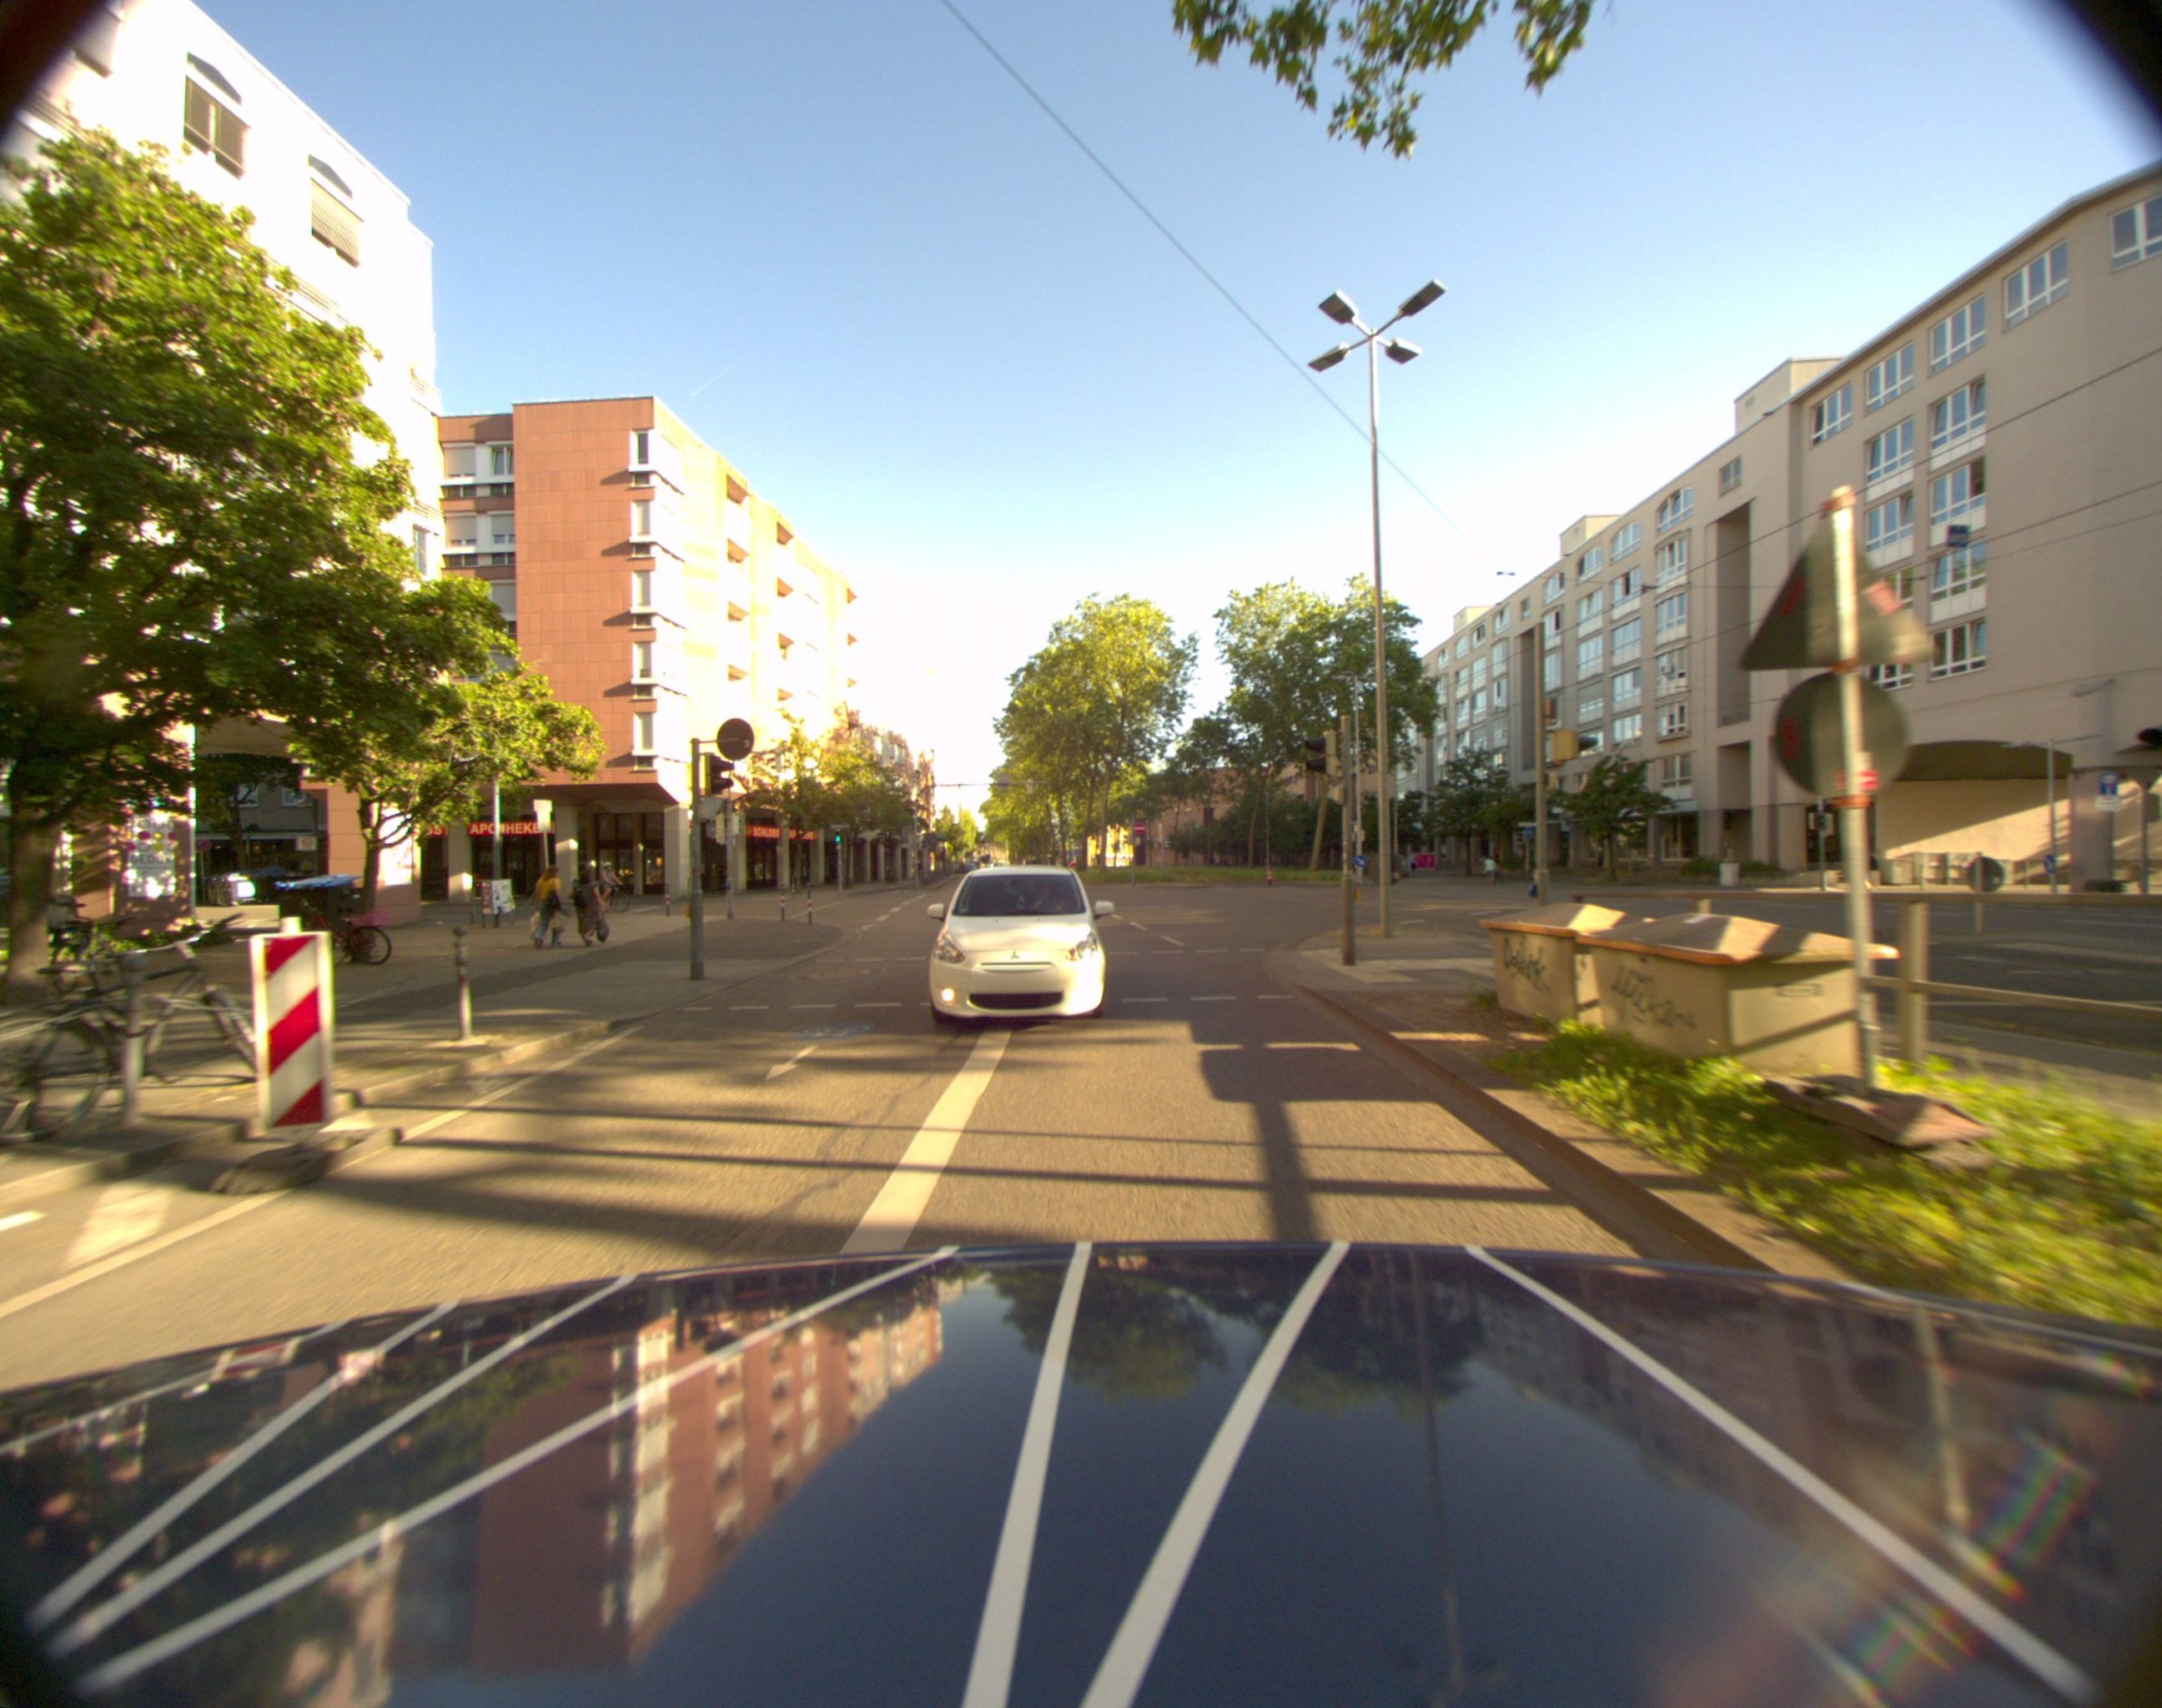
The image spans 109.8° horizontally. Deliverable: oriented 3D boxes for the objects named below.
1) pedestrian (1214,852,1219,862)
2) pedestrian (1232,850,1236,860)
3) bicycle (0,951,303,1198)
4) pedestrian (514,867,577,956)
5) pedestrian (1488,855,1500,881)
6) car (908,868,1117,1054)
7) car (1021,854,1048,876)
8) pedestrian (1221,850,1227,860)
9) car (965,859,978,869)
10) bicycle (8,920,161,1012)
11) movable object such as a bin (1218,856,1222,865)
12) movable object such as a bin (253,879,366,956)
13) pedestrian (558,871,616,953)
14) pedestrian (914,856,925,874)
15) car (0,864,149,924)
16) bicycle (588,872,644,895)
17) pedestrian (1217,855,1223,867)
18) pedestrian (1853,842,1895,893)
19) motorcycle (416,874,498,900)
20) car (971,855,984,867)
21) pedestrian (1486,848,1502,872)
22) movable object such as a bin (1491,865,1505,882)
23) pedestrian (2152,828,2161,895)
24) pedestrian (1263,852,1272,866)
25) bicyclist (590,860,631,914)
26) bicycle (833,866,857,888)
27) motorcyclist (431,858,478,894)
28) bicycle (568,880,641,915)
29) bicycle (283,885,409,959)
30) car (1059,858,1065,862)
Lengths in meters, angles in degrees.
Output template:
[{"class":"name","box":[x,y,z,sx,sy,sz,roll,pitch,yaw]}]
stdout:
[{"class":"pedestrian","box":[20.642,0.446,115.774,0.666,1.607,0.756,-1,0,-8]},{"class":"pedestrian","box":[22.955,0.181,114.251,0.484,1.496,0.463,-1,0,0]},{"class":"bicycle","box":[-5.913,1.249,4.703,0.740,1.047,1.750,-1,0,-16]},{"class":"pedestrian","box":[-10.801,1.137,15.350,0.702,1.723,0.767,-1,1,-6]},{"class":"pedestrian","box":[23.469,0.802,43.201,0.533,1.495,0.621,-1,1,22]},{"class":"car","box":[-0.681,0.960,8.755,1.721,1.442,4.423,-3,0,-3]},{"class":"car","box":[-3.642,0.807,59.092,1.825,1.630,3.997,-1,0,-6]},{"class":"pedestrian","box":[21.514,0.140,114.239,0.666,1.607,0.756,-1,0,-8]},{"class":"car","box":[-16.561,1.449,114.921,1.707,1.475,4.247,0,0,-4]},{"class":"bicycle","box":[-13.250,1.446,10.104,1.748,1.047,0.740,-1,1,21]},{"class":"movable object such as a bin","box":[20.806,0.965,113.445,0.357,1.271,0.756,-1,0,-7]},{"class":"movable object such as a bin","box":[-15.574,1.260,15.372,1.413,1.473,0.872,-1,1,5]},{"class":"pedestrian","box":[-9.852,1.140,15.170,0.646,1.569,0.748,-1,1,-3]},{"class":"pedestrian","box":[-15.512,1.044,73.073,0.783,1.728,0.837,-1,0,2]},{"class":"car","box":[-31.877,1.201,23.384,4.195,1.712,1.801,-1,1,2]},{"class":"bicycle","box":[-23.368,1.489,38.210,2.448,1.088,0.593,-1,1,2]},{"class":"pedestrian","box":[20.845,1.050,114.056,0.666,1.712,0.796,-1,0,-8]},{"class":"pedestrian","box":[29.520,0.500,28.294,0.858,1.858,0.751,-1,1,-12]},{"class":"motorcycle","box":[-30.620,1.596,37.327,2.826,1.172,1.349,-1,0,-2]},{"class":"car","box":[-17.455,1.132,128.253,2.044,1.932,5.194,1,0,-8]},{"class":"pedestrian","box":[28.200,0.412,51.848,0.708,1.629,0.788,-1,1,4]},{"class":"movable object such as a bin","box":[23.312,1.103,42.456,0.511,0.948,0.540,-1,0,7]},{"class":"pedestrian","box":[32.762,0.228,22.494,0.836,2.002,0.887,-1,1,-2]},{"class":"pedestrian","box":[23.841,0.612,97.146,0.826,1.820,0.900,-1,0,-6]},{"class":"bicyclist","box":[-15.678,1.074,25.342,0.827,1.760,0.788,-1,1,2]},{"class":"bicycle","box":[-13.774,1.314,44.331,0.623,1.218,1.927,-1,0,6]},{"class":"motorcyclist","box":[-30.763,1.086,37.327,1.174,1.679,1.334,-2,1,-3]},{"class":"bicycle","box":[-15.893,1.455,25.354,1.919,1.106,0.803,-1,1,2]},{"class":"bicycle","box":[-12.777,1.171,13.234,1.571,1.220,0.577,-1,1,-1]},{"class":"car","box":[-6.161,1.905,247.624,1.618,1.420,3.219,-1,0,-8]}]
